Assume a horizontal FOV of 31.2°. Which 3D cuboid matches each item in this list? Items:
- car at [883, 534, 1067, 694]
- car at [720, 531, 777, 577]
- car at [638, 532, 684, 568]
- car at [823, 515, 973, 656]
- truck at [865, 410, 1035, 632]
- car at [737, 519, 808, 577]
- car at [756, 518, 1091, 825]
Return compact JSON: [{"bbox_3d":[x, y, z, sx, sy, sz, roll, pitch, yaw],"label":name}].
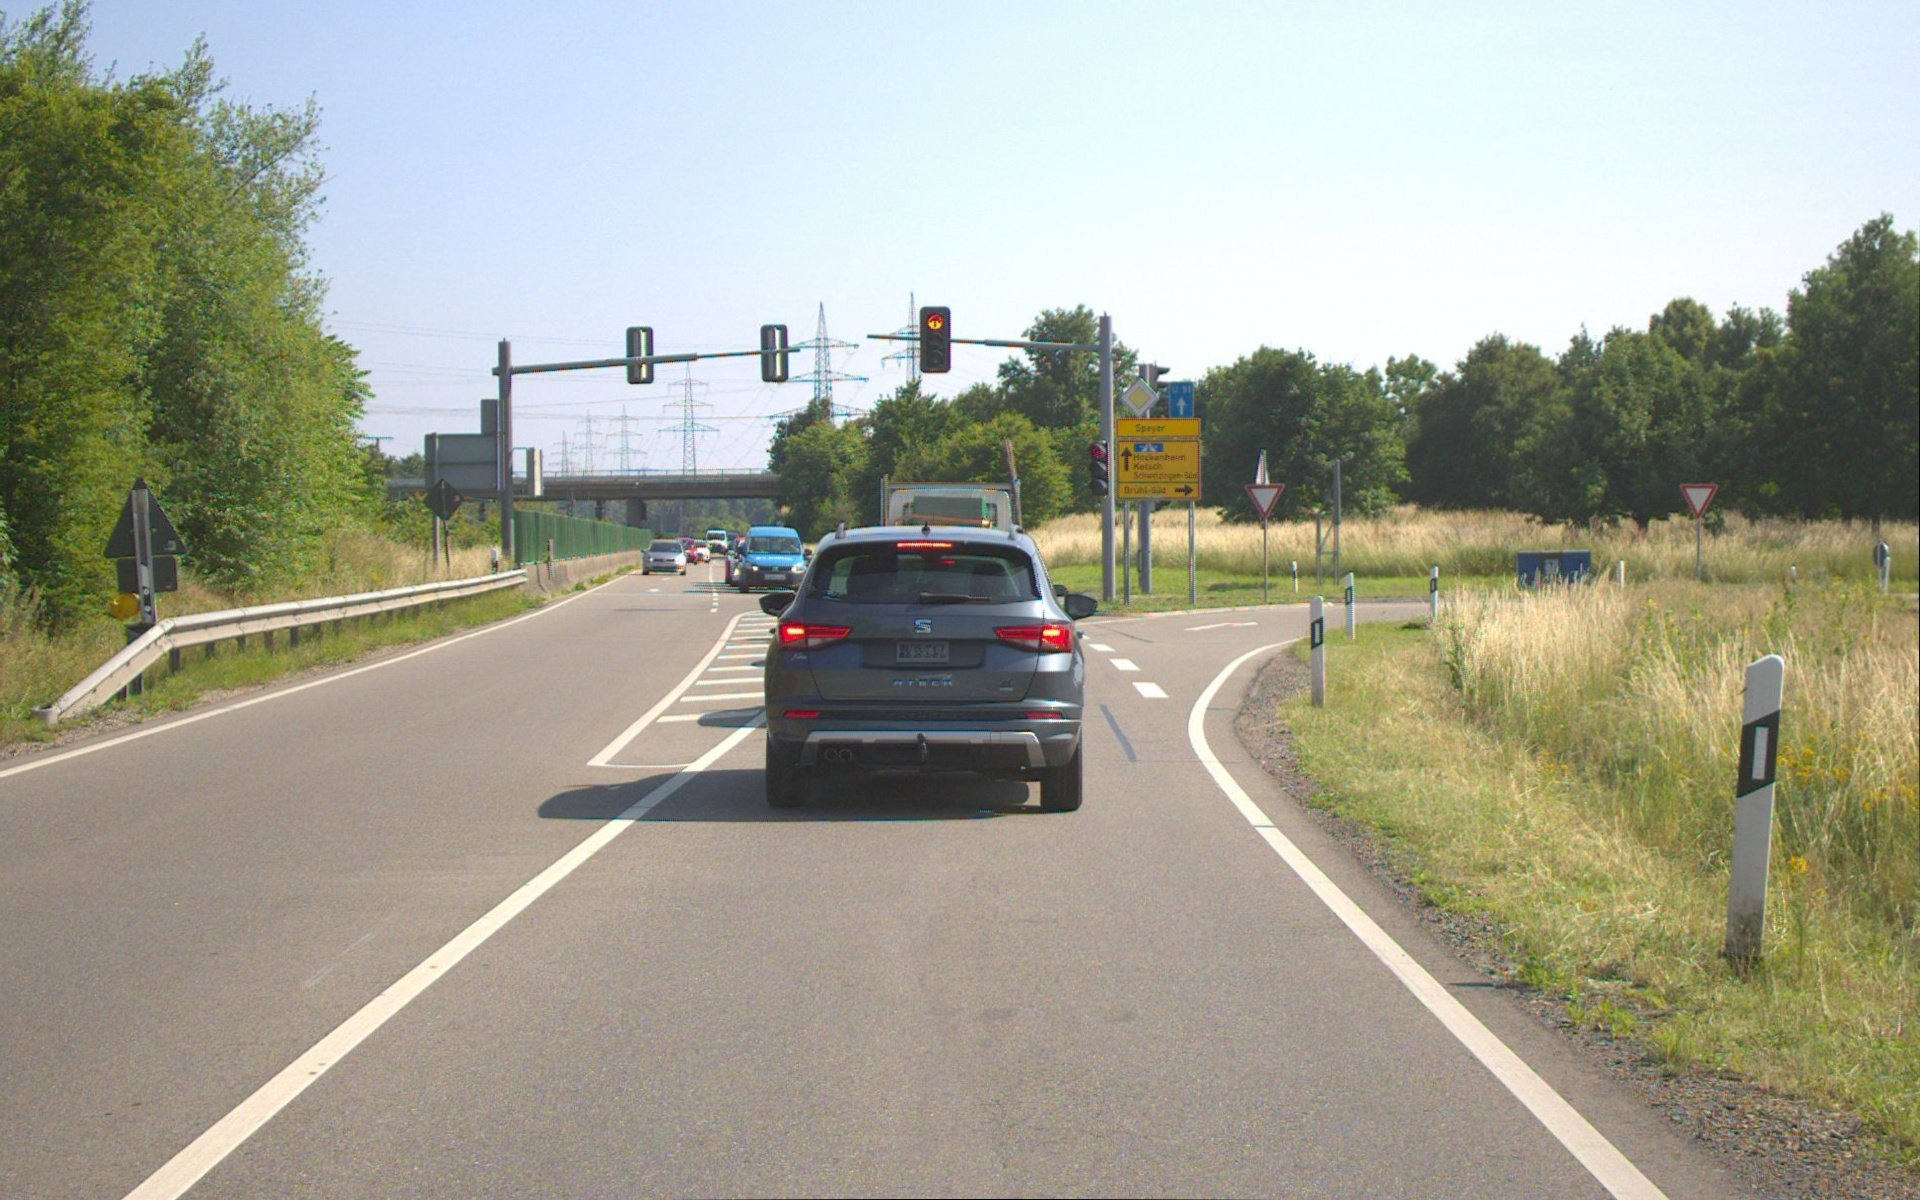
[{"bbox_3d":[0.103,0.099,35.852,1.785,1.538,4.001,0,1,-1],"label":"car"},{"bbox_3d":[-6.583,-1.446,106.744,1.684,1.375,3.534,0,1,-4],"label":"car"},{"bbox_3d":[-12.316,-2.080,141.503,1.824,1.426,4.001,-1,1,-5],"label":"car"},{"bbox_3d":[-0.788,-0.225,42.911,1.785,1.670,4.001,0,1,-1],"label":"car"},{"bbox_3d":[-0.151,-1.128,50.446,2.337,3.055,5.810,0,1,0],"label":"truck"},{"bbox_3d":[-5.174,-1.440,94.381,1.816,1.535,4.001,-1,1,-5],"label":"car"},{"bbox_3d":[-0.241,0.336,20.428,1.785,1.623,4.001,0,1,-1],"label":"car"}]
